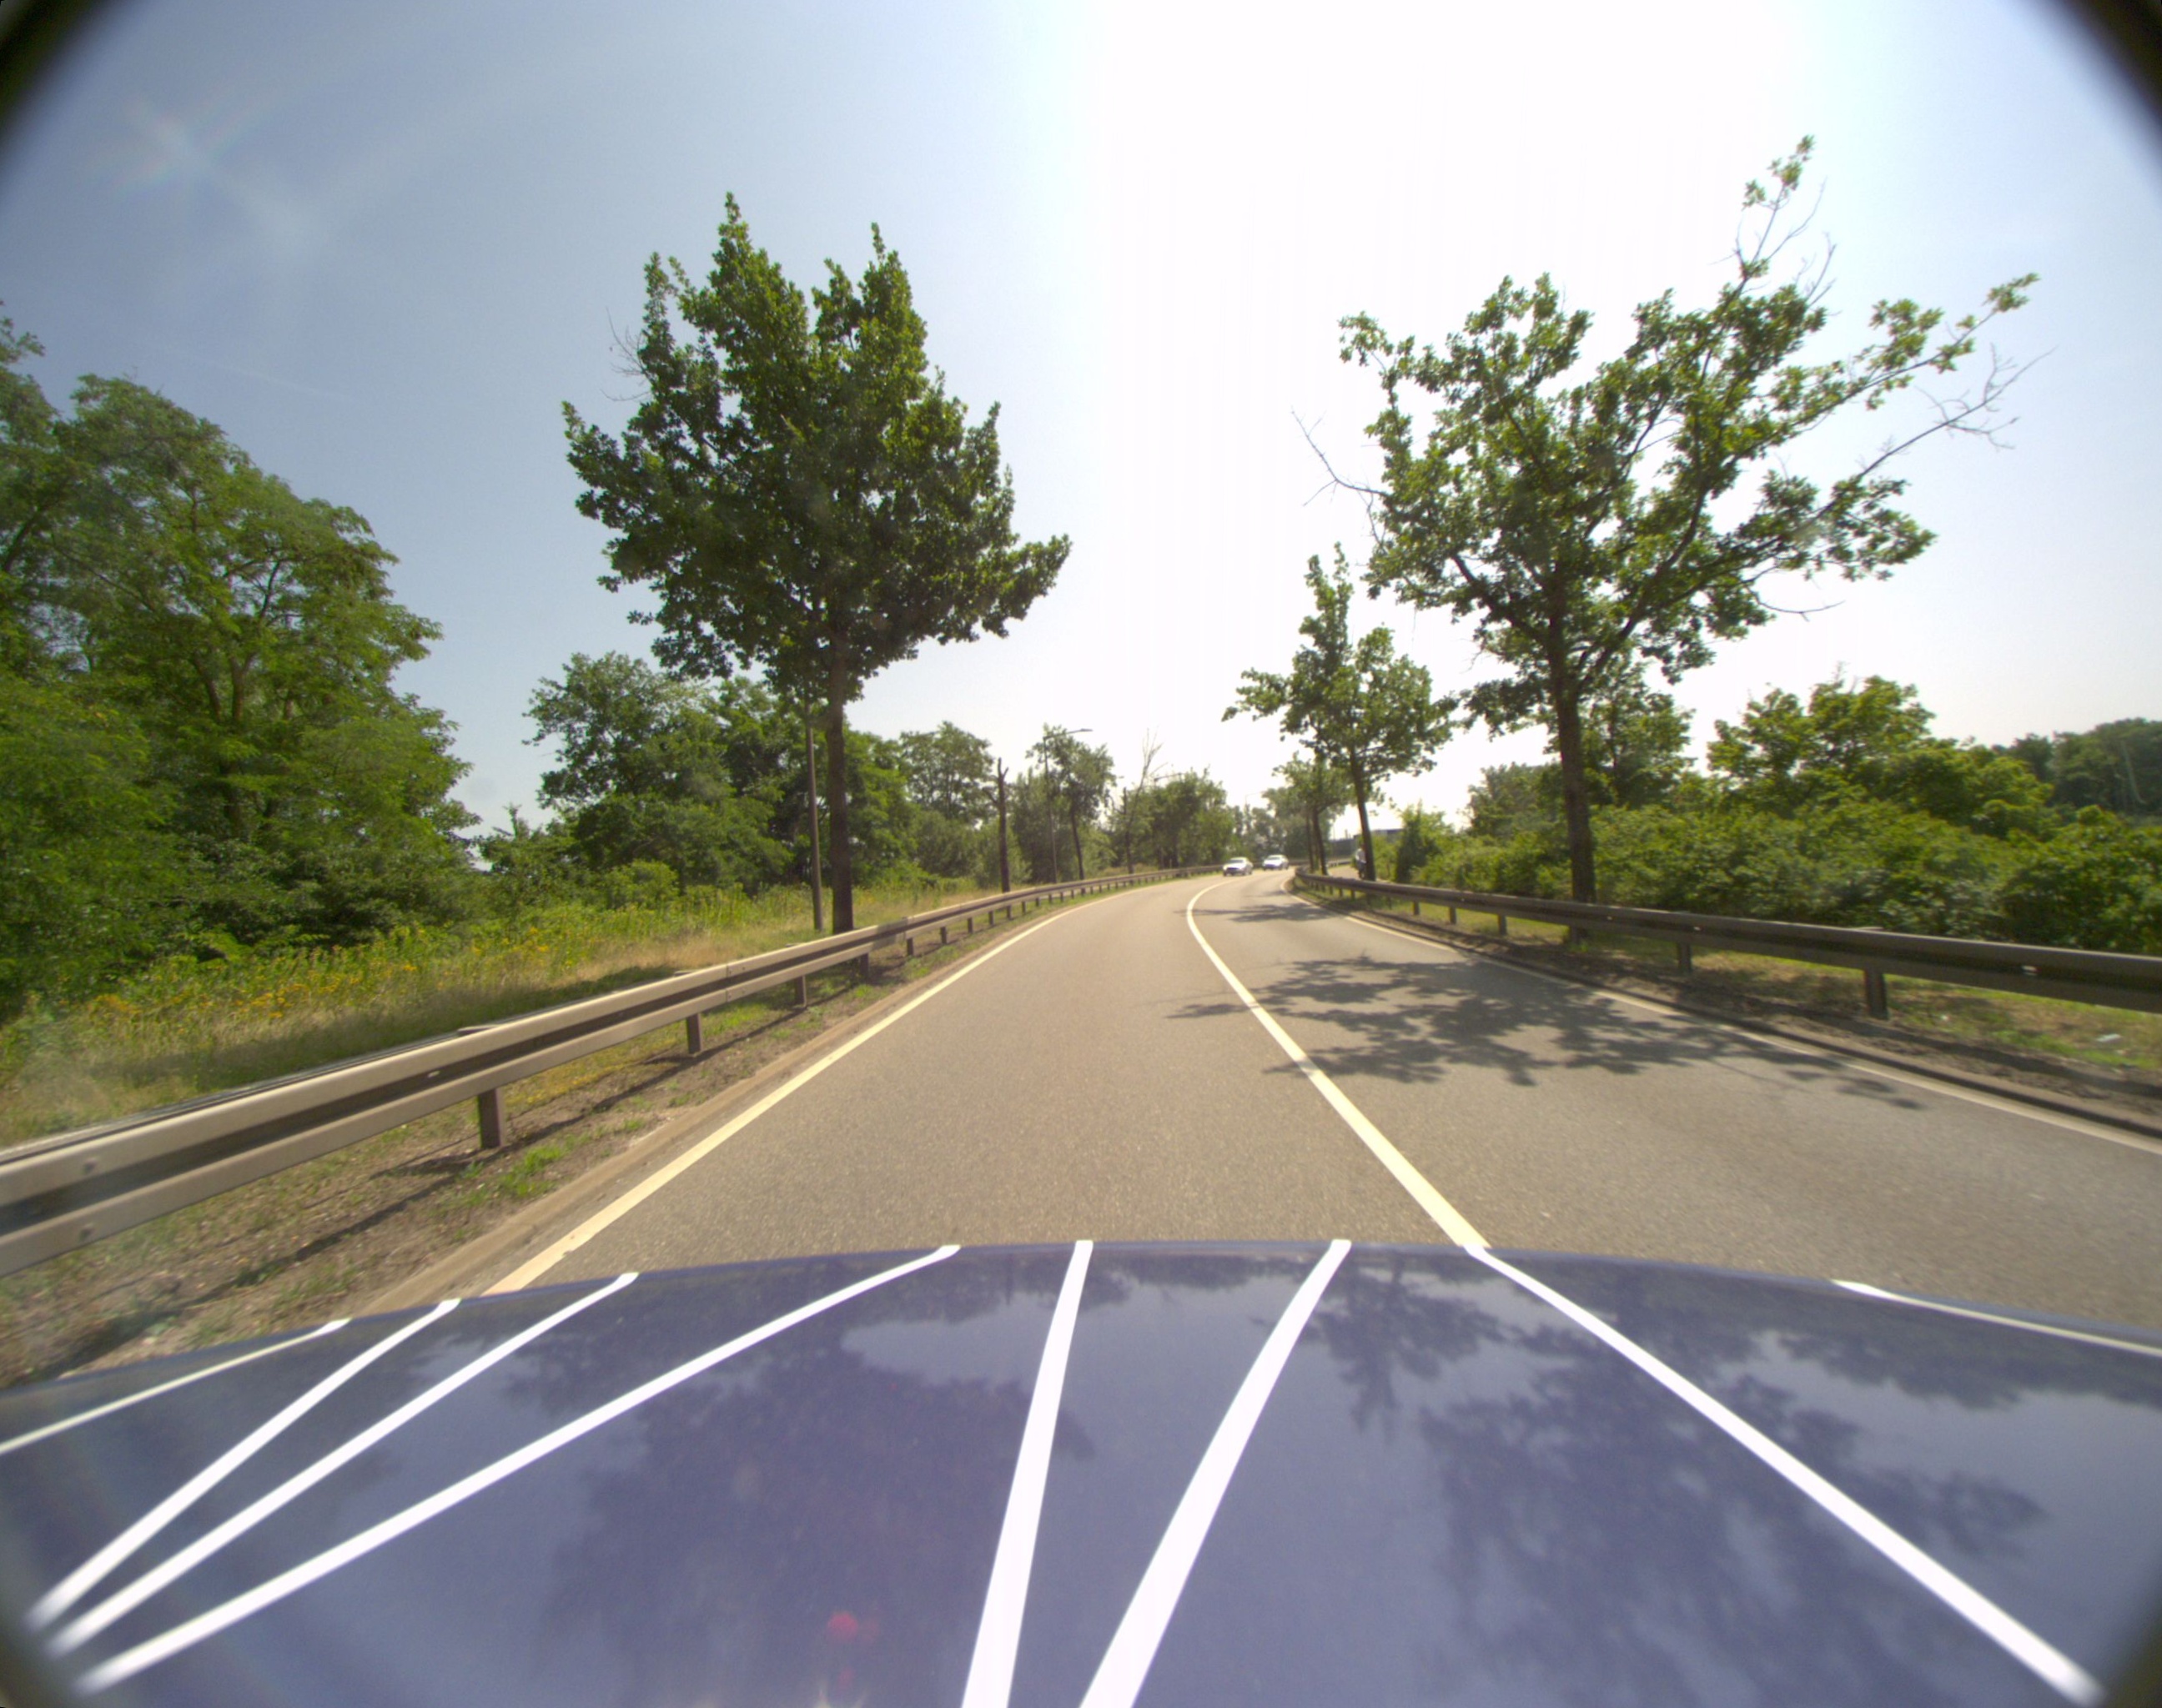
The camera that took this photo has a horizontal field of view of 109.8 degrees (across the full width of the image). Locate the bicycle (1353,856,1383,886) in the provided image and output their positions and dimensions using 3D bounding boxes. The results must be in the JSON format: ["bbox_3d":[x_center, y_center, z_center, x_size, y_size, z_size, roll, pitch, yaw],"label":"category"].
[{"bbox_3d":[11.445,0.668,30.366,0.735,1.110,2.047,-1,1,10],"label":"bicycle"}]

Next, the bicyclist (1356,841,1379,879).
[{"bbox_3d":[11.440,0.235,30.378,0.730,1.457,0.824,-1,1,11],"label":"bicyclist"}]

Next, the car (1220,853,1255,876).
[{"bbox_3d":[12.553,0.836,60.807,1.760,1.490,4.239,-3,1,25],"label":"car"}]

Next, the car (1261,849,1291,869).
[{"bbox_3d":[19.231,0.491,74.825,1.796,1.772,4.300,-3,0,28],"label":"car"}]
